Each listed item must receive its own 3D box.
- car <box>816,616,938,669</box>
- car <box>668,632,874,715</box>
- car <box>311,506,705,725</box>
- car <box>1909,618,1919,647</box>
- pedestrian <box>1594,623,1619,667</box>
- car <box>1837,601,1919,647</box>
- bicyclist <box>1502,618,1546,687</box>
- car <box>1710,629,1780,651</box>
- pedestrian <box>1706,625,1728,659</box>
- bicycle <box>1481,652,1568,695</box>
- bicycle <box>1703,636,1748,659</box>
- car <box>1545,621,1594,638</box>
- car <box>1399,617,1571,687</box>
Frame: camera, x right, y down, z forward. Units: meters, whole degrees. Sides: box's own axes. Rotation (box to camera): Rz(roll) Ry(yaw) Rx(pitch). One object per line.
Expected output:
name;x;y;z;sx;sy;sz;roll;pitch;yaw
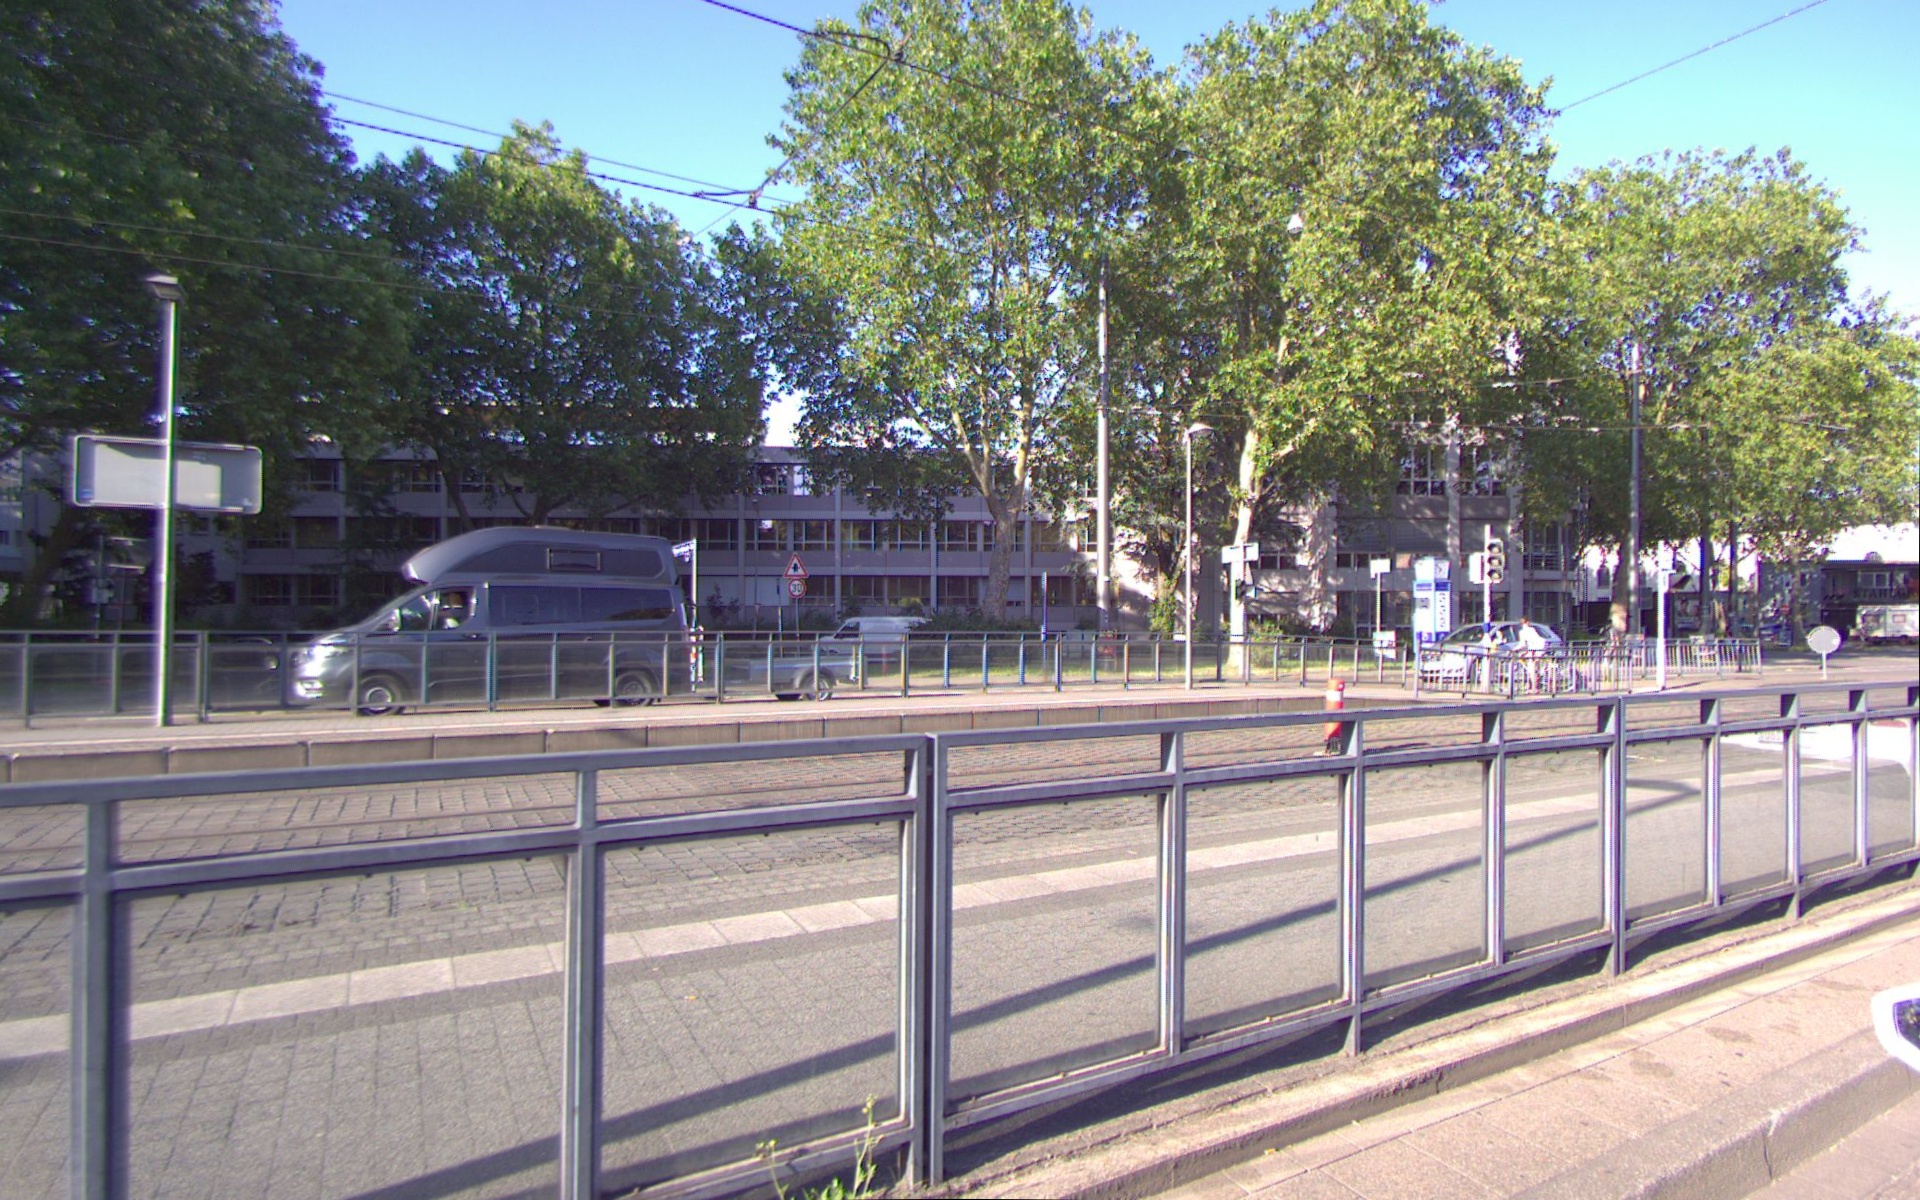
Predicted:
car;-3.969;2.001;47.765;5.616;2.366;2.156;1;0;-7
car;-3.204;1.203;16.973;2.879;1.178;2.057;2;-1;-31
car;-6.569;0.271;14.910;4.974;2.779;2.056;2;0;-31
car;68.129;2.269;69.377;3.929;1.982;1.796;1;-1;-11
pedestrian;23.381;1.634;36.319;0.669;1.572;0.533;1;0;-30
car;67.487;1.725;72.613;6.413;3.207;2.501;1;-1;-7
bicyclist;12.084;1.117;21.541;0.788;1.433;0.527;0;0;27
car;58.342;2.952;74.762;1.767;1.530;3.994;1;0;-8
pedestrian;38.718;2.142;51.379;0.642;1.683;0.646;1;0;-27
bicycle;12.078;1.569;21.540;1.586;0.827;0.527;0;-1;27
bicycle;39.202;2.429;51.472;0.494;1.122;1.788;1;-1;-27
car;56.153;2.703;92.647;1.767;1.530;3.994;1;0;-8
car;13.948;1.357;26.708;4.099;1.715;1.812;1;0;-22
